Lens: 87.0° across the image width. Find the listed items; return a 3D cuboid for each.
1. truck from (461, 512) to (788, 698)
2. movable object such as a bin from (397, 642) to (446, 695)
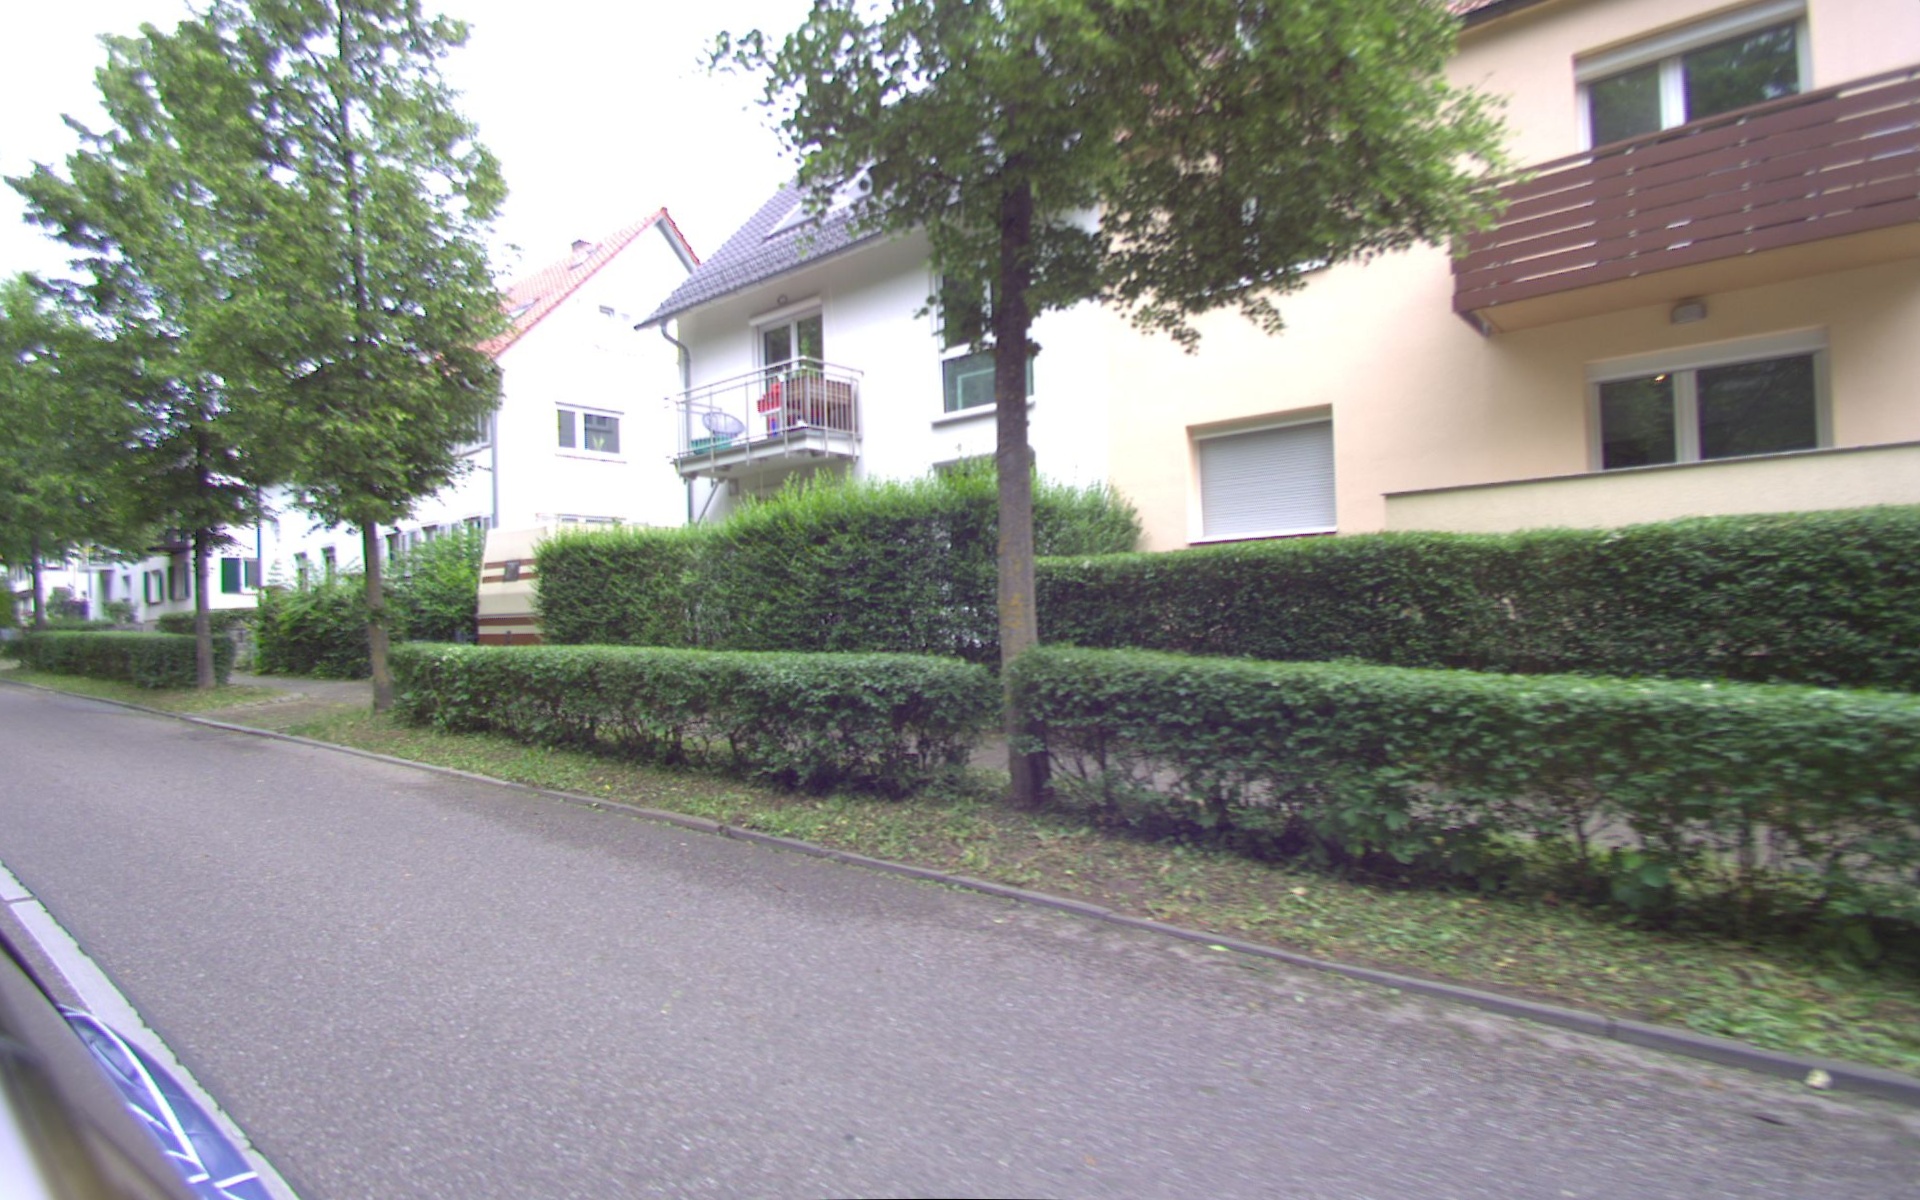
[{"bbox_3d":[-6.464,0.094,20.209,2.515,3.154,5.740,-2,-1,38],"label":"truck"},{"bbox_3d":[-9.824,1.245,18.469,0.693,0.933,0.574,-2,-2,42],"label":"movable object such as a bin"}]
